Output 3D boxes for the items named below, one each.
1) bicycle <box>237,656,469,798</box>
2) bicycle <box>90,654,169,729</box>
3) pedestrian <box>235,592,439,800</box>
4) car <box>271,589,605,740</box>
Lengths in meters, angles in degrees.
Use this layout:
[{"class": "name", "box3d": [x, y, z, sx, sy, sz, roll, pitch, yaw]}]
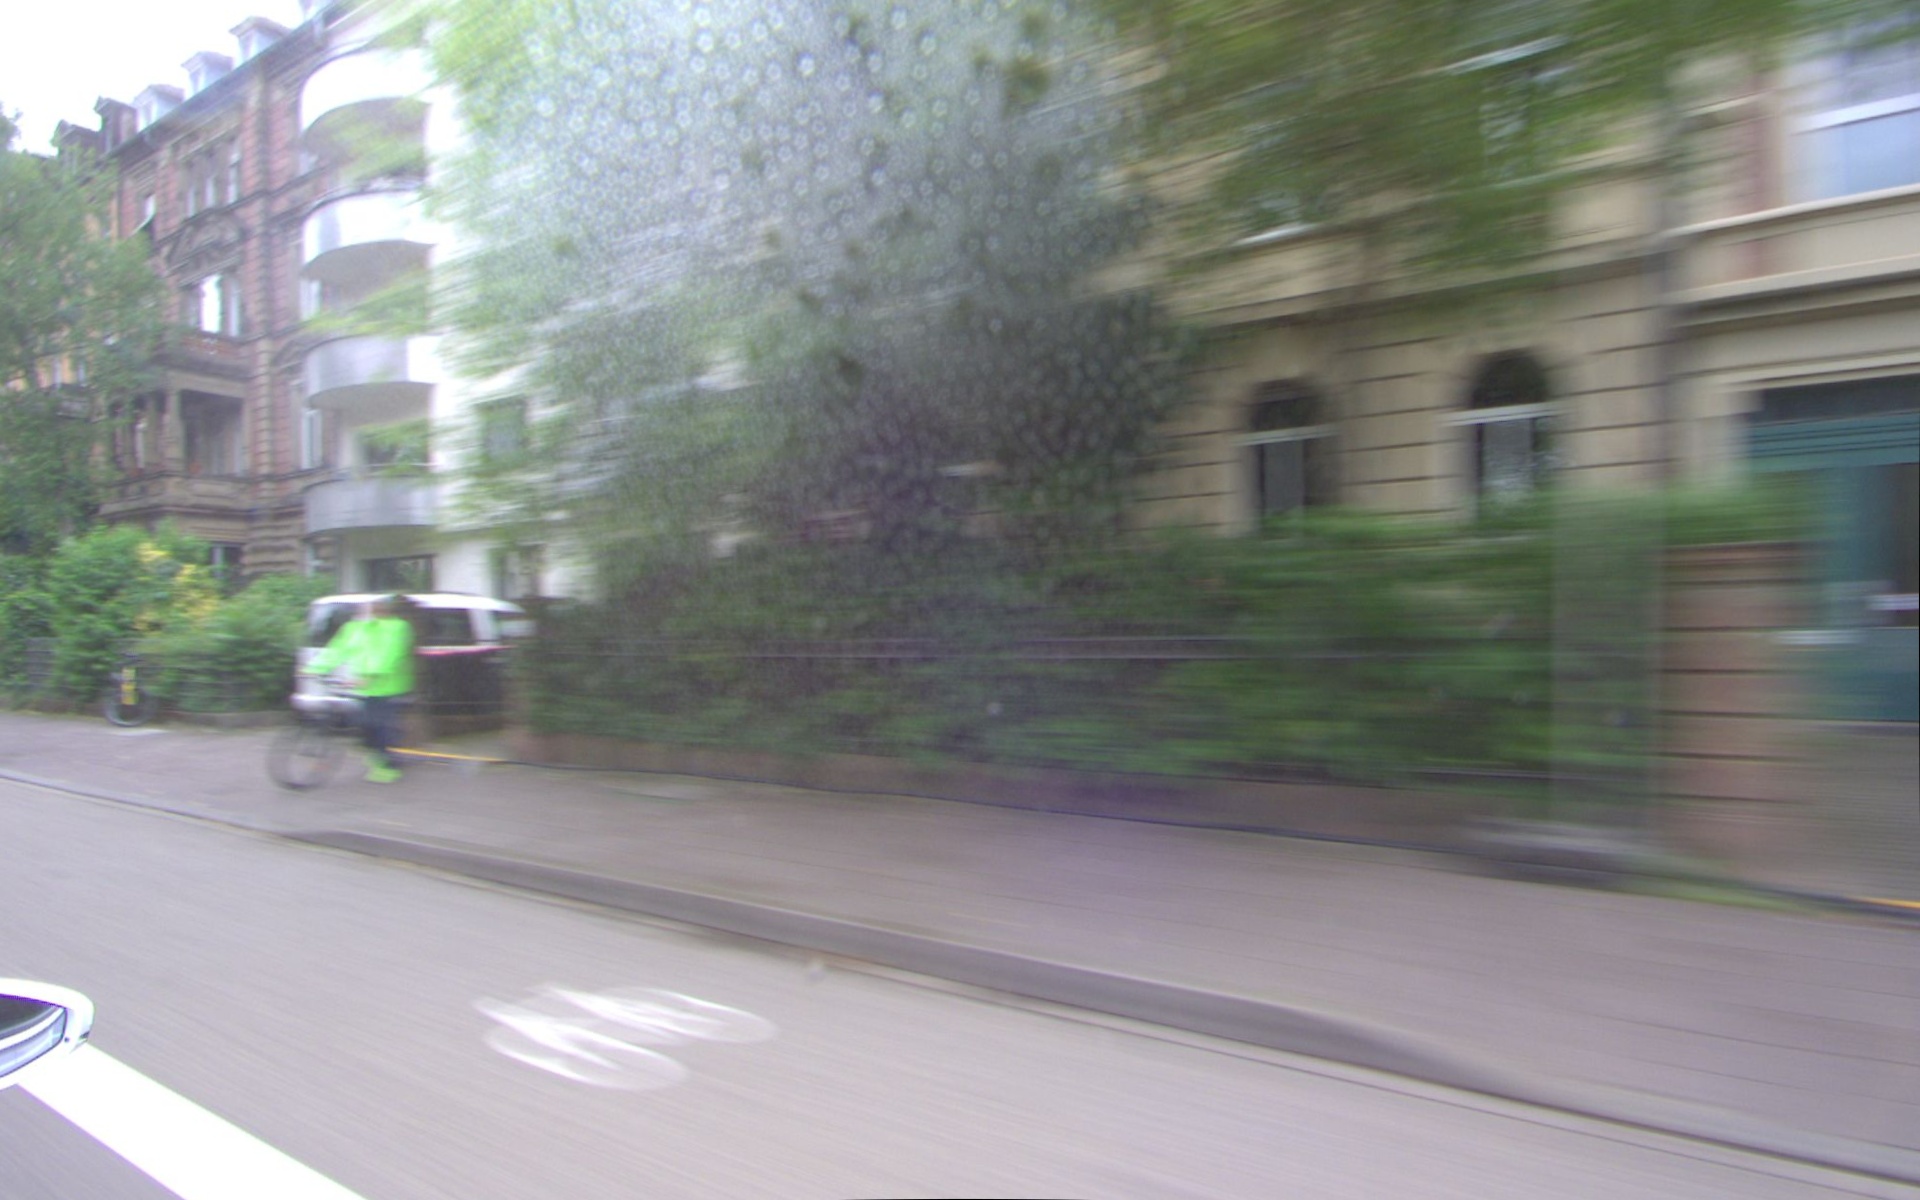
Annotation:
[{"class": "bicycle", "box3d": [-5.868, 1.177, 9.810, 0.597, 1.090, 1.837, -1, 2, 30]}, {"class": "bicycle", "box3d": [-12.485, 1.349, 15.036, 1.510, 1.059, 0.478, -1, -1, 33]}, {"class": "pedestrian", "box3d": [-5.830, 0.833, 9.424, 1.003, 1.757, 1.226, -1, 3, 31]}, {"class": "car", "box3d": [-7.447, 0.833, 14.668, 1.783, 1.882, 3.979, -1, -1, 32]}]
